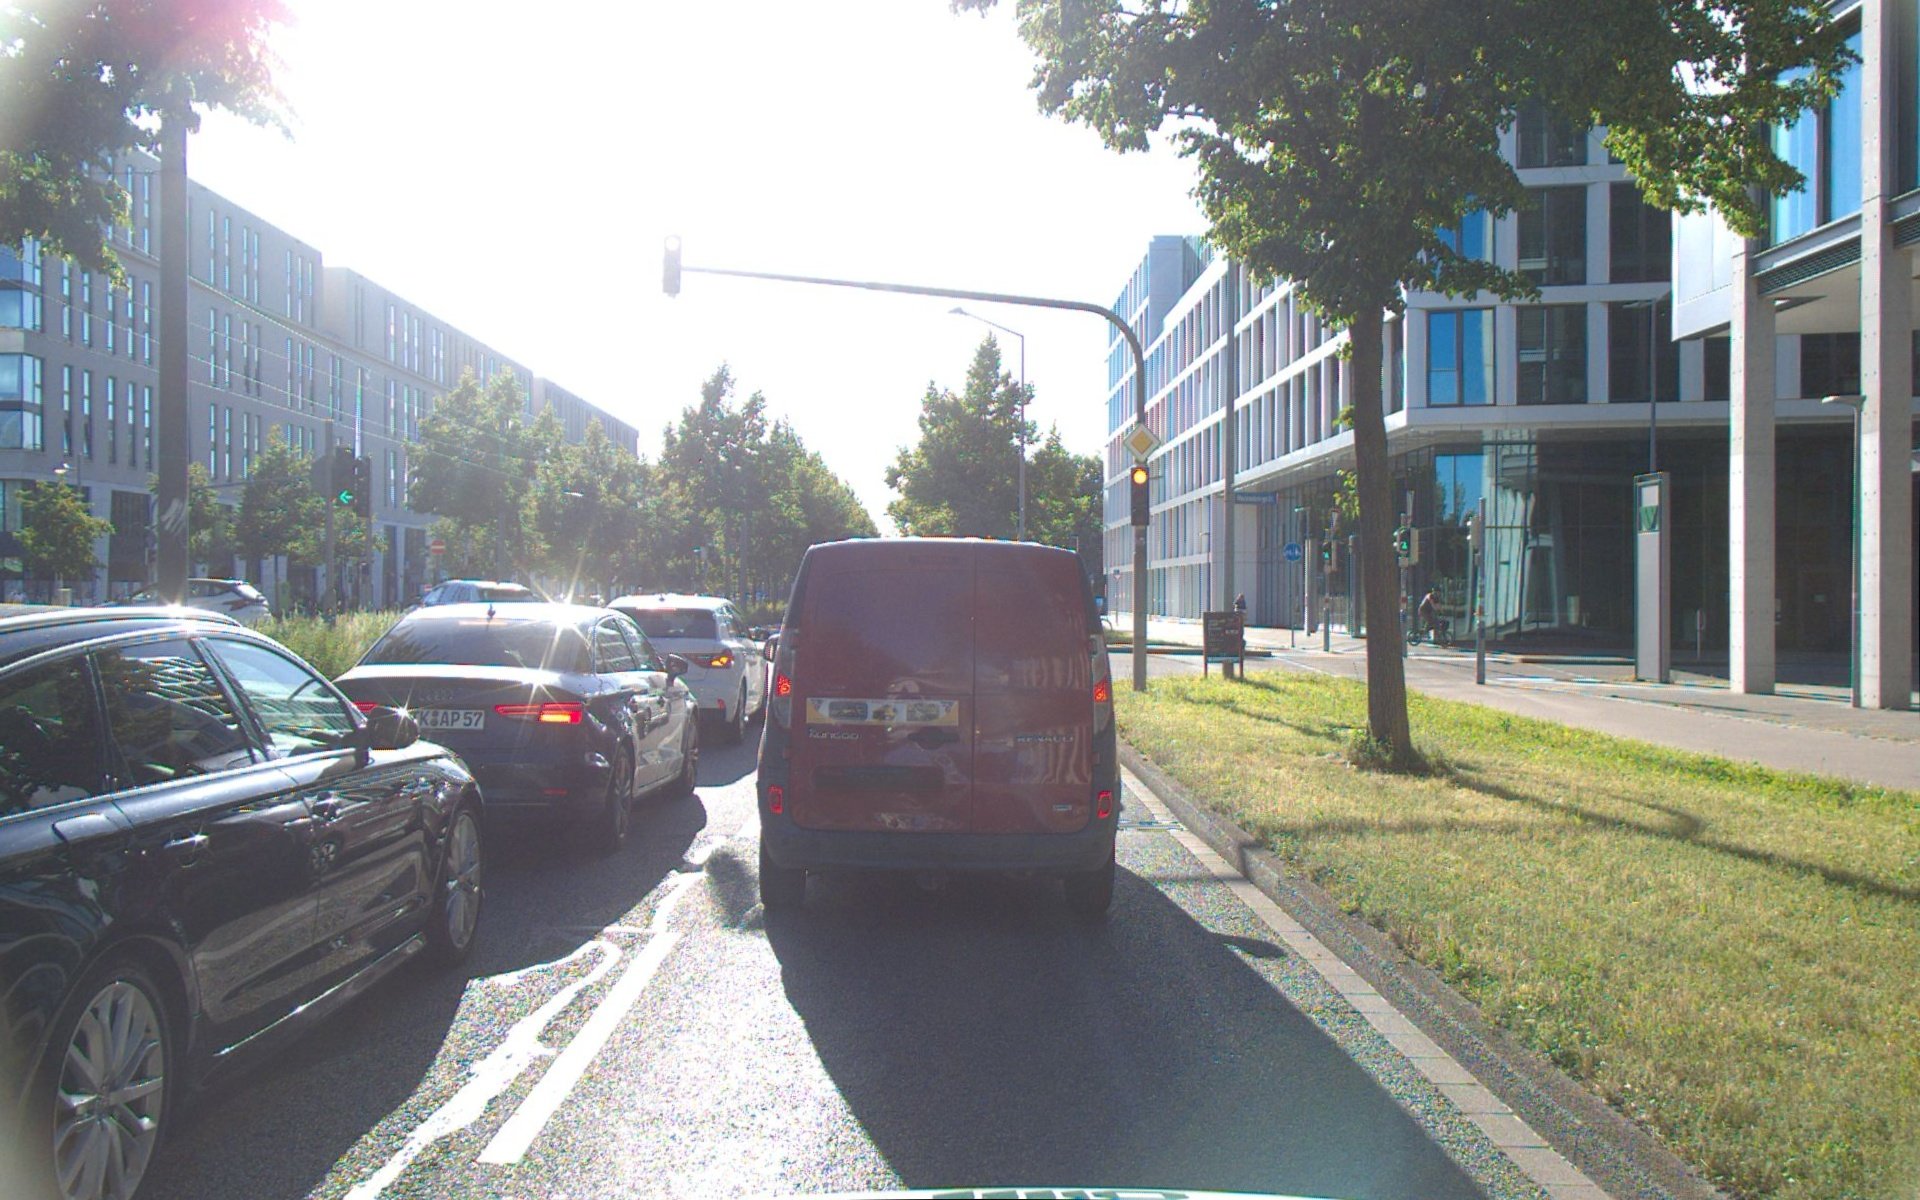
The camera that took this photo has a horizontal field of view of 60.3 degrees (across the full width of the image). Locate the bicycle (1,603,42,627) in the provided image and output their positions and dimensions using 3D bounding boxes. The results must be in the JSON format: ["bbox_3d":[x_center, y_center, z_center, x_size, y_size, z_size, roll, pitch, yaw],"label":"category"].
[{"bbox_3d":[-40.615,0.632,71.602,0.663,1.005,1.956,0,0,-1],"label":"bicycle"}]

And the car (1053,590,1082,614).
[{"bbox_3d":[8.331,0.168,128.169,1.953,1.813,3.999,0,0,-1],"label":"car"}]

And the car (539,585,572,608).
[{"bbox_3d":[-36.360,-0.324,148.761,1.953,2.049,3.999,0,0,-1],"label":"car"}]

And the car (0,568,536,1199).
[{"bbox_3d":[-2.776,0.683,5.045,1.836,1.510,4.965,0,0,-2],"label":"car"}]

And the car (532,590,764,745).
[{"bbox_3d":[-3.166,0.627,17.529,1.767,1.451,3.900,0,0,-1],"label":"car"}]

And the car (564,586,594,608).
[{"bbox_3d":[-36.377,-0.300,157.861,1.953,2.049,3.999,0,0,-1],"label":"car"}]

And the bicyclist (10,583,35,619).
[{"bbox_3d":[-40.613,0.056,71.654,0.663,1.556,0.714,0,0,-1],"label":"bicyclist"}]

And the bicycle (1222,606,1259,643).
[{"bbox_3d":[9.132,0.788,53.932,0.801,1.134,2.847,0,0,2],"label":"bicycle"}]

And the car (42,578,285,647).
[{"bbox_3d":[-17.469,0.271,36.429,4.460,1.473,1.805,0,0,0],"label":"car"}]

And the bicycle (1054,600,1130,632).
[{"bbox_3d":[5.064,0.621,63.533,2.880,1.211,0.818,0,0,5],"label":"bicycle"}]

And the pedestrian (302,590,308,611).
[{"bbox_3d":[-44.390,0.024,112.034,0.290,1.378,0.278,0,0,-1],"label":"pedestrian"}]

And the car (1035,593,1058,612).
[{"bbox_3d":[8.428,0.261,160.727,1.953,1.813,3.999,0,0,-1],"label":"car"}]

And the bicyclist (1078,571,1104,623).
[{"bbox_3d":[5.050,-0.121,63.549,0.977,1.981,0.818,0,0,5],"label":"bicyclist"}]

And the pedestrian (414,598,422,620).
[{"bbox_3d":[-44.397,0.753,135.530,0.458,1.775,0.479,0,0,-1],"label":"pedestrian"}]

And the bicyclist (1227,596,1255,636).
[{"bbox_3d":[9.159,0.511,53.874,0.801,1.297,0.683,0,0,1],"label":"bicyclist"}]

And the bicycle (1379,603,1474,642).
[{"bbox_3d":[14.903,0.697,52.848,2.881,1.211,0.818,0,0,20],"label":"bicycle"}]

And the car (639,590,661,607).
[{"bbox_3d":[-37.207,-0.225,198.648,1.953,2.049,3.999,0,0,-1],"label":"car"}]

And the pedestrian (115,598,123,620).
[{"bbox_3d":[-43.256,0.476,85.102,0.248,1.104,0.289,0,0,-1],"label":"pedestrian"}]

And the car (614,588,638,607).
[{"bbox_3d":[-36.711,-0.249,181.842,1.953,2.049,3.999,0,0,-1],"label":"car"}]

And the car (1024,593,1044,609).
[{"bbox_3d":[8.074,0.095,179.922,1.953,1.813,3.999,0,0,-1],"label":"car"}]

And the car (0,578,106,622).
[{"bbox_3d":[-33.195,-0.026,60.640,1.729,1.546,3.999,0,0,-1],"label":"car"}]

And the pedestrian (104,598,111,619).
[{"bbox_3d":[-43.847,0.448,85.065,0.248,1.104,0.260,0,0,-1],"label":"pedestrian"}]

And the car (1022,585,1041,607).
[{"bbox_3d":[8.589,-0.485,198.449,1.953,2.540,4.986,0,0,-1],"label":"car"}]

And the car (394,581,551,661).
[{"bbox_3d":[-9.914,0.379,33.444,1.506,1.518,4.153,0,0,-40],"label":"car"}]

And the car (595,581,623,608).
[{"bbox_3d":[-35.594,-0.541,167.804,1.953,2.653,3.999,0,0,-1],"label":"car"}]

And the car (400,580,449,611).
[{"bbox_3d":[-35.279,-0.301,109.098,1.953,2.049,3.999,0,0,-1],"label":"car"}]

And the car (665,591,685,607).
[{"bbox_3d":[-37.346,-0.182,216.663,1.953,2.049,3.999,0,0,-1],"label":"car"}]

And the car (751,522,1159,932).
[{"bbox_3d":[-0.049,0.557,9.348,1.804,1.812,3.999,0,0,-1],"label":"car"}]

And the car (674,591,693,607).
[{"bbox_3d":[-37.157,-0.159,222.290,1.953,2.049,3.999,0,0,-1],"label":"car"}]

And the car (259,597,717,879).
[{"bbox_3d":[-2.788,0.721,10.829,1.804,1.451,4.338,0,0,-1],"label":"car"}]

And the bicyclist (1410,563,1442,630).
[{"bbox_3d":[14.900,-0.119,52.860,0.920,2.129,0.818,0,0,20],"label":"bicyclist"}]
